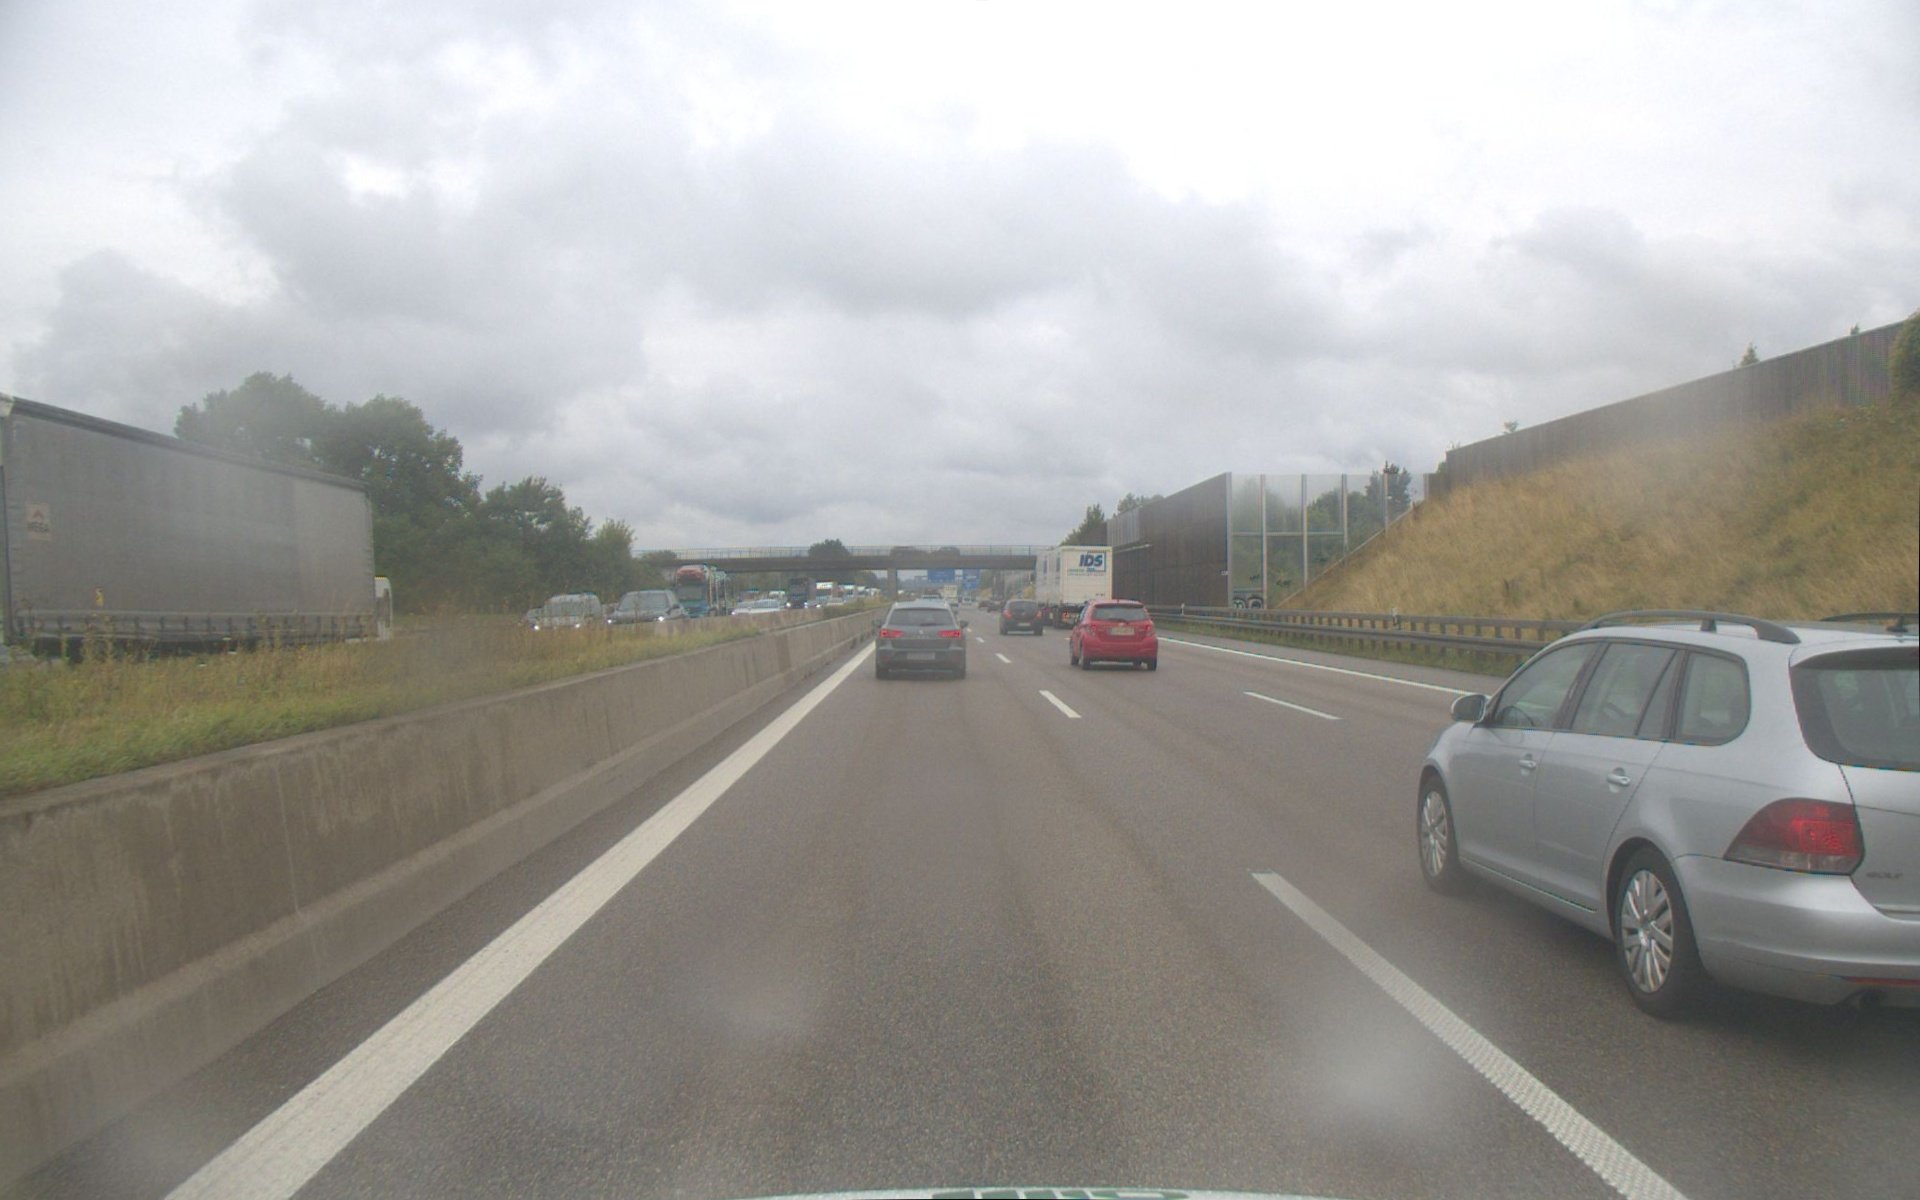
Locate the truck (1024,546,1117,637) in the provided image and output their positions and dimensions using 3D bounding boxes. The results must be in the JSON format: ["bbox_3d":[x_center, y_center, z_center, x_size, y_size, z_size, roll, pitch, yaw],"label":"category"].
[{"bbox_3d":[5.698,-0.347,89.280,3.217,4.370,19.026,1,0,-1],"label":"truck"}]

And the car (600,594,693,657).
[{"bbox_3d":[-9.595,0.748,51.009,1.953,1.795,5.070,-1,0,-1],"label":"car"}]

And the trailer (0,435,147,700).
[{"bbox_3d":[-17.542,-0.583,24.269,3.637,4.346,15.620,1,0,-1],"label":"trailer"}]

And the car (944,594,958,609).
[{"bbox_3d":[-1.254,0.227,238.668,1.953,2.049,4.240,1,0,-1],"label":"car"}]

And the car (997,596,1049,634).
[{"bbox_3d":[2.627,0.609,69.465,1.882,1.548,4.620,0,0,-2],"label":"car"}]

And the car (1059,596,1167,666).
[{"bbox_3d":[3.388,0.651,37.354,1.853,1.472,4.683,0,0,-2],"label":"car"}]

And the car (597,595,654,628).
[{"bbox_3d":[-17.866,0.588,88.567,2.051,1.740,4.800,0,0,0],"label":"car"}]

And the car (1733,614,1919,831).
[{"bbox_3d":[7.161,0.827,11.510,1.668,1.426,3.874,1,0,-2],"label":"car"}]

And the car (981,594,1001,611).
[{"bbox_3d":[3.145,0.246,166.882,1.808,1.716,3.998,1,0,-2],"label":"car"}]

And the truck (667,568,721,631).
[{"bbox_3d":[-18.768,-0.017,117.011,2.897,4.316,6.232,1,0,-1],"label":"truck"}]

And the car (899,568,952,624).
[{"bbox_3d":[-1.235,-0.148,59.178,1.789,1.882,3.999,-1,0,-1],"label":"car"}]

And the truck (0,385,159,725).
[{"bbox_3d":[-12.946,-0.553,20.381,3.029,4.045,6.370,1,0,-1],"label":"truck"}]

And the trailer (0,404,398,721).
[{"bbox_3d":[-13.051,-0.474,27.917,3.023,4.160,12.327,1,0,-1],"label":"trailer"}]

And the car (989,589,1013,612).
[{"bbox_3d":[3.742,0.059,151.358,1.953,2.049,3.999,1,0,-1],"label":"car"}]

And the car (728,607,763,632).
[{"bbox_3d":[-15.197,1.367,117.385,2.051,1.740,5.163,0,0,-2],"label":"car"}]

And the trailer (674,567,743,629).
[{"bbox_3d":[-18.864,-0.082,125.139,2.937,4.316,15.704,1,0,-1],"label":"trailer"}]

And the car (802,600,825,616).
[{"bbox_3d":[-15.897,0.881,179.713,2.051,1.740,4.800,0,0,0],"label":"car"}]

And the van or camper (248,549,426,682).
[{"bbox_3d":[-18.118,0.450,48.671,2.655,3.564,7.695,1,0,-3],"label":"van or camper"}]

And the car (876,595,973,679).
[{"bbox_3d":[-0.704,0.677,32.002,1.733,1.493,3.998,1,0,-2],"label":"car"}]

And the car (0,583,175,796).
[{"bbox_3d":[-8.850,0.725,14.084,2.051,1.740,4.800,0,0,0],"label":"car"}]

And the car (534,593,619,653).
[{"bbox_3d":[-13.293,0.761,57.632,1.845,1.958,5.276,-1,0,-1],"label":"car"}]

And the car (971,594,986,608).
[{"bbox_3d":[2.526,0.087,225.449,1.953,1.843,4.227,-2,0,-1],"label":"car"}]

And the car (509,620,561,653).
[{"bbox_3d":[-22.119,1.897,86.213,1.847,1.623,3.998,1,0,-3],"label":"car"}]

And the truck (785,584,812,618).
[{"bbox_3d":[-19.800,0.137,202.584,2.701,4.121,6.253,1,0,-1],"label":"truck"}]

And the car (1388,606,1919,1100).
[{"bbox_3d":[3.367,0.768,7.259,1.706,1.450,4.515,-1,0,-1],"label":"car"}]
